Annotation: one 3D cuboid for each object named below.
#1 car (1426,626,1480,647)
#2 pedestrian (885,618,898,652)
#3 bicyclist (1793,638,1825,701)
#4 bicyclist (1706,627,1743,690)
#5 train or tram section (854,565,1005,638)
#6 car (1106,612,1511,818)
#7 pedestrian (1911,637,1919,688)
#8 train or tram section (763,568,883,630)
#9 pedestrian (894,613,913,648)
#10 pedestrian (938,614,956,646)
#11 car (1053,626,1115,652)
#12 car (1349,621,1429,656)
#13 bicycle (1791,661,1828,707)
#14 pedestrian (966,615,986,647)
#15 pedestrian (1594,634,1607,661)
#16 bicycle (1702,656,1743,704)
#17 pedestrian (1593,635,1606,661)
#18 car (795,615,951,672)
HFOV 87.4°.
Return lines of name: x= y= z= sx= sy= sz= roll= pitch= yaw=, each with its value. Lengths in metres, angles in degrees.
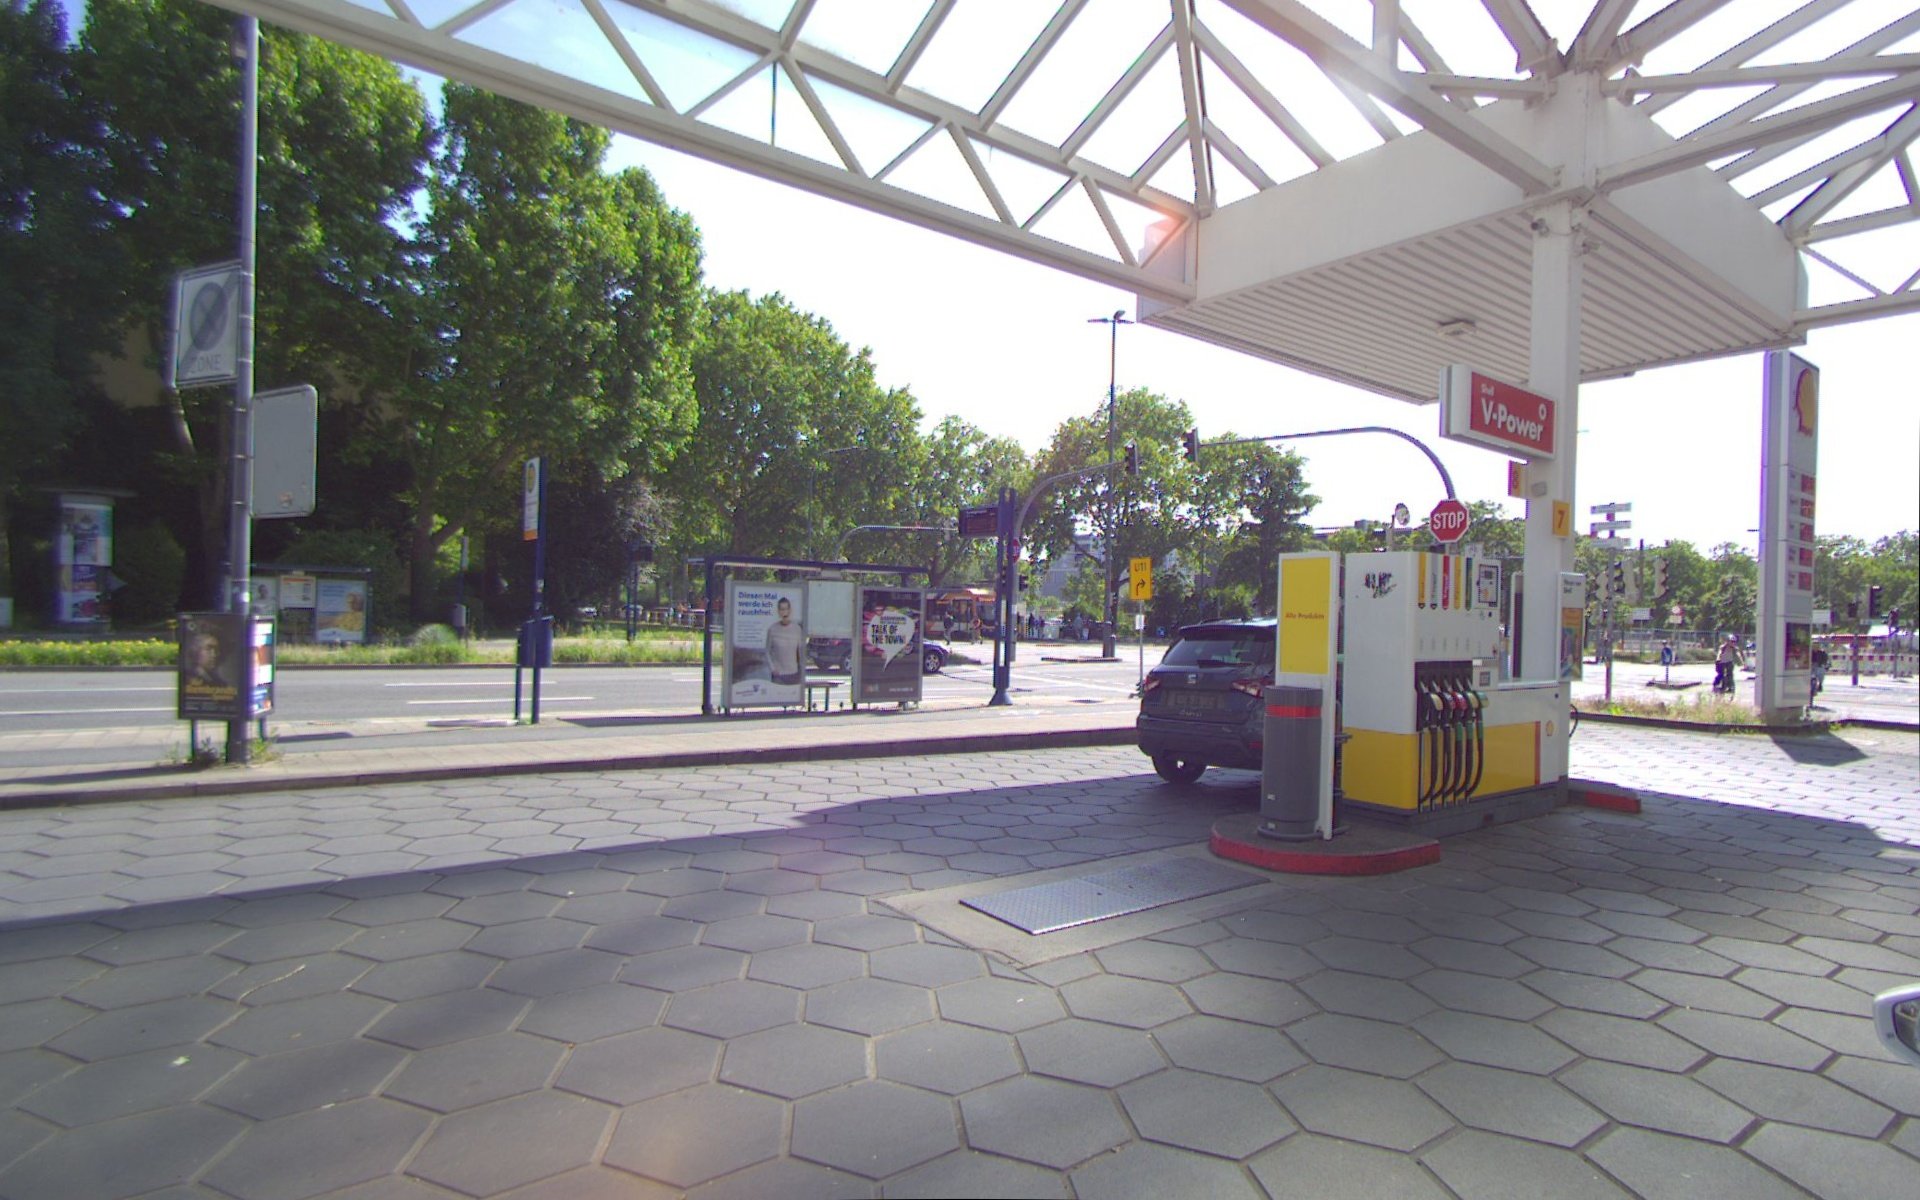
car: x=44.546 y=3.310 z=90.855 sx=1.978 sy=1.839 sz=3.966 roll=2 pitch=-3 yaw=-32
pedestrian: x=-4.072 y=2.077 z=59.733 sx=0.691 sy=2.013 sz=0.740 roll=1 pitch=-2 yaw=-6
bicyclist: x=22.007 y=1.784 z=26.039 sx=0.526 sy=1.564 sz=0.862 roll=2 pitch=-1 yaw=36
bicyclist: x=20.091 y=1.525 z=26.390 sx=0.631 sy=1.601 sz=1.166 roll=2 pitch=0 yaw=44
train or tram section: x=-2.495 y=0.096 z=69.697 sx=2.307 sy=4.549 sz=14.788 roll=3 pitch=-1 yaw=-36
car: x=3.406 y=0.959 z=9.496 sx=3.964 sy=1.552 sz=1.731 roll=3 pitch=-2 yaw=-37
pedestrian: x=29.900 y=1.940 z=30.985 sx=0.497 sy=1.561 sz=0.648 roll=2 pitch=0 yaw=-27
train or tram section: x=-11.534 y=-0.113 z=81.977 sx=2.307 sy=4.549 sz=15.759 roll=3 pitch=-1 yaw=-36
pedestrian: x=-3.067 y=1.667 z=54.204 sx=0.758 sy=1.881 sz=0.724 roll=0 pitch=-2 yaw=23
pedestrian: x=-0.676 y=1.596 z=54.039 sx=0.779 sy=1.696 sz=0.555 roll=3 pitch=-3 yaw=-41
car: x=9.150 y=2.841 z=74.149 sx=4.152 sy=1.829 sz=1.989 roll=-1 pitch=-3 yaw=43
car: x=26.629 y=2.408 z=62.376 sx=4.378 sy=2.040 sz=1.992 roll=2 pitch=-2 yaw=-19
bicycle: x=22.034 y=2.158 z=26.079 sx=0.516 sy=1.096 sz=1.861 roll=2 pitch=-1 yaw=34
pedestrian: x=0.911 y=1.707 z=55.844 sx=0.677 sy=1.745 sz=0.866 roll=-1 pitch=-3 yaw=42
pedestrian: x=36.376 y=2.692 z=57.027 sx=0.555 sy=1.488 sz=0.513 roll=2 pitch=0 yaw=29
bicycle: x=20.037 y=2.085 z=26.377 sx=0.631 sy=1.096 sz=2.014 roll=2 pitch=1 yaw=44
pedestrian: x=36.903 y=2.747 z=57.949 sx=0.555 sy=1.488 sz=0.513 roll=2 pitch=0 yaw=29
car: x=-2.346 y=1.203 z=27.652 sx=3.966 sy=1.385 sz=1.667 roll=3 pitch=1 yaw=-37
